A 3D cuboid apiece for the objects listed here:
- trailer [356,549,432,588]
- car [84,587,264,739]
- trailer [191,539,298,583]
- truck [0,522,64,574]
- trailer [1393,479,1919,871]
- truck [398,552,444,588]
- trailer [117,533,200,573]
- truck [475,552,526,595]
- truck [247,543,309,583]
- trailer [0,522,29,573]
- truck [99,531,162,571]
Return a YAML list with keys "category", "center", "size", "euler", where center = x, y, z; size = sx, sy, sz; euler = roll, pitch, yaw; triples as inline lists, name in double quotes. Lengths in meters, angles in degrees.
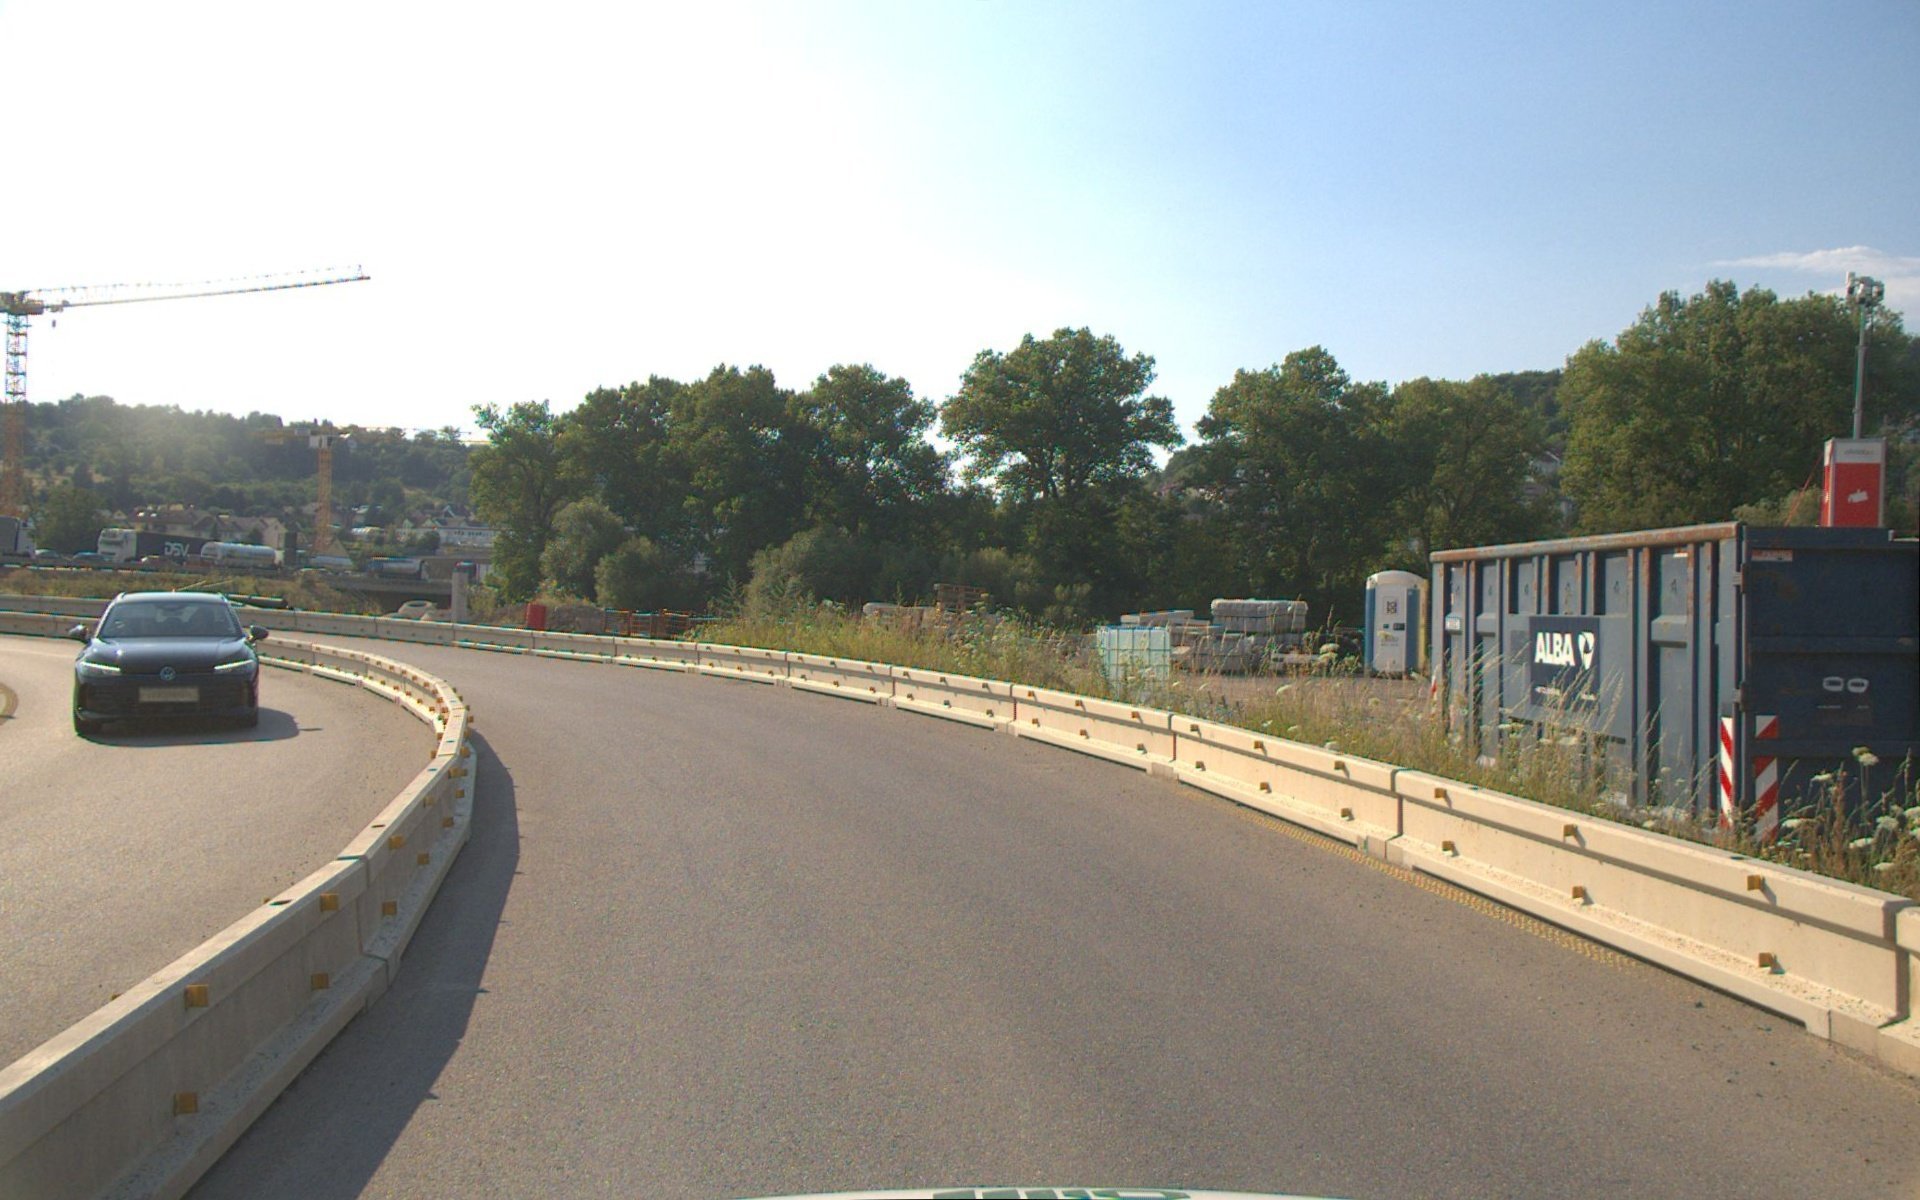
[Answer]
- category: "trailer"
  center: [-71.232, -3.927, 208.581]
  size: [3.038, 4.389, 14.261]
  euler: [2, 0, 6]
- category: "car"
  center: [-9.168, 0.645, 19.126]
  size: [1.691, 1.545, 4.473]
  euler: [0, 0, -28]
- category: "trailer"
  center: [-75.185, -4.014, 174.364]
  size: [3.313, 4.066, 14.755]
  euler: [2, 0, 6]
- category: "truck"
  center: [-79.328, -4.384, 139.509]
  size: [3.272, 4.066, 6.629]
  euler: [2, 0, 6]
- category: "trailer"
  center: [6.279, 0.525, 14.221]
  size: [2.943, 2.456, 7.225]
  euler: [2, 0, -2]
- category: "truck"
  center: [-70.389, -3.896, 216.111]
  size: [3.032, 4.360, 6.629]
  euler: [2, 0, 6]
- category: "trailer"
  center: [-83.914, -4.870, 173.297]
  size: [2.943, 3.817, 9.577]
  euler: [1, 0, 8]
- category: "truck"
  center: [-66.808, -3.741, 240.906]
  size: [3.097, 5.973, 10.683]
  euler: [1, 0, 8]
- category: "truck"
  center: [-74.476, -3.979, 180.759]
  size: [3.318, 4.066, 6.629]
  euler: [2, 0, 6]
- category: "trailer"
  center: [-80.276, -4.426, 130.880]
  size: [3.313, 4.066, 14.755]
  euler: [2, 0, 6]
- category: "truck"
  center: [-84.490, -4.926, 168.551]
  size: [2.932, 3.792, 5.692]
  euler: [1, 0, 7]
